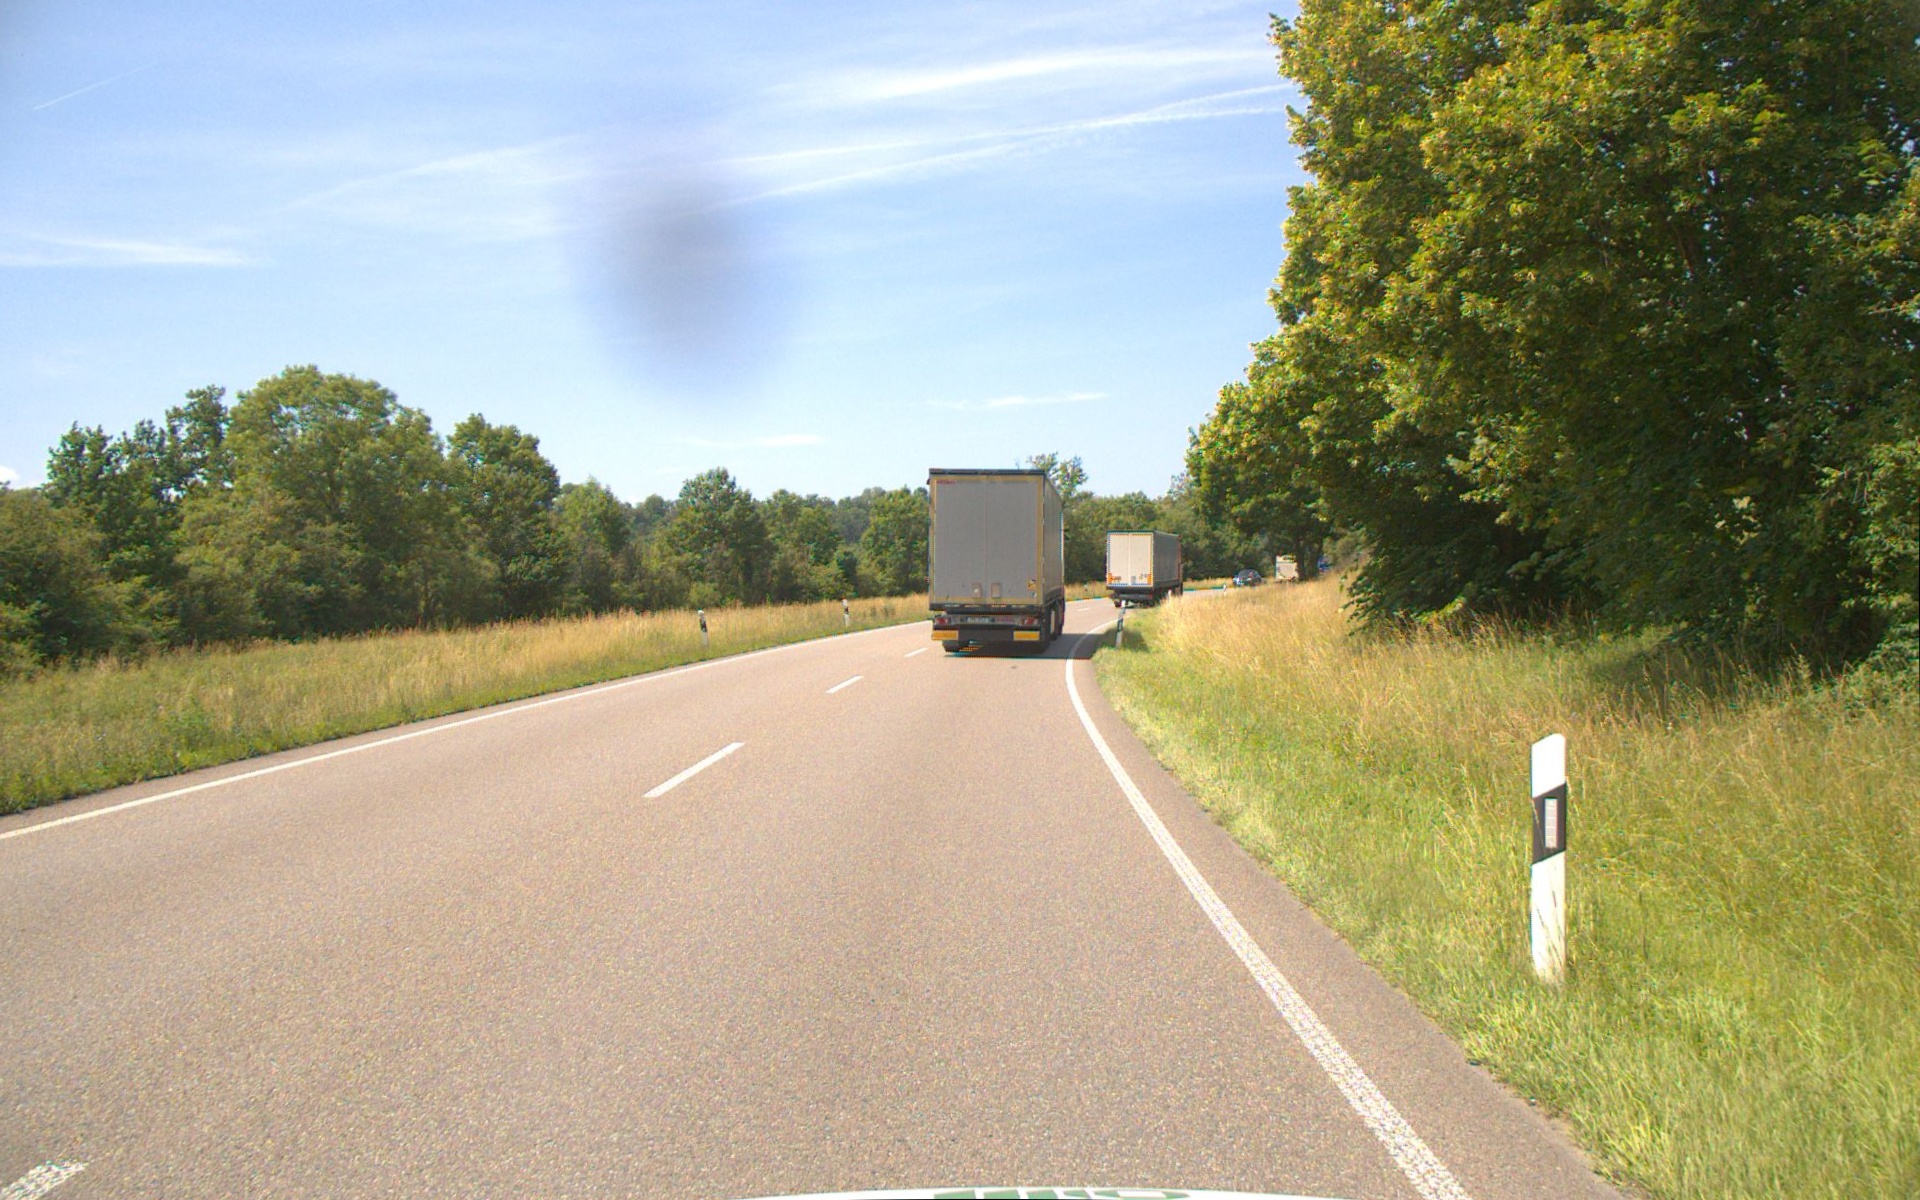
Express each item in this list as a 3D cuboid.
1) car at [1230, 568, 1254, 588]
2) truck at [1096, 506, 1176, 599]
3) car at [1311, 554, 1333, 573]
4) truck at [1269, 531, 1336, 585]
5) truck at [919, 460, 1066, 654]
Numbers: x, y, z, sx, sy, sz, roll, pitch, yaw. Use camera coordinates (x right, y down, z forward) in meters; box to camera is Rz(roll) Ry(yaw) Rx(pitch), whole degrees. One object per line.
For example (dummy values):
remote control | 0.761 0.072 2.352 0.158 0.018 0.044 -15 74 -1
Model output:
car | 25.963 -2.031 152.379 1.498 1.747 3.825 -1 0 20
truck | 10.237 -2.528 94.406 3.038 4.788 16.604 -1 0 11
car | 36.746 -3.720 167.908 1.499 1.829 3.823 -1 0 22
truck | 32.470 -3.801 156.105 3.042 4.788 16.585 -1 0 23
truck | 1.183 -0.974 43.037 2.742 4.140 15.335 0 0 5
